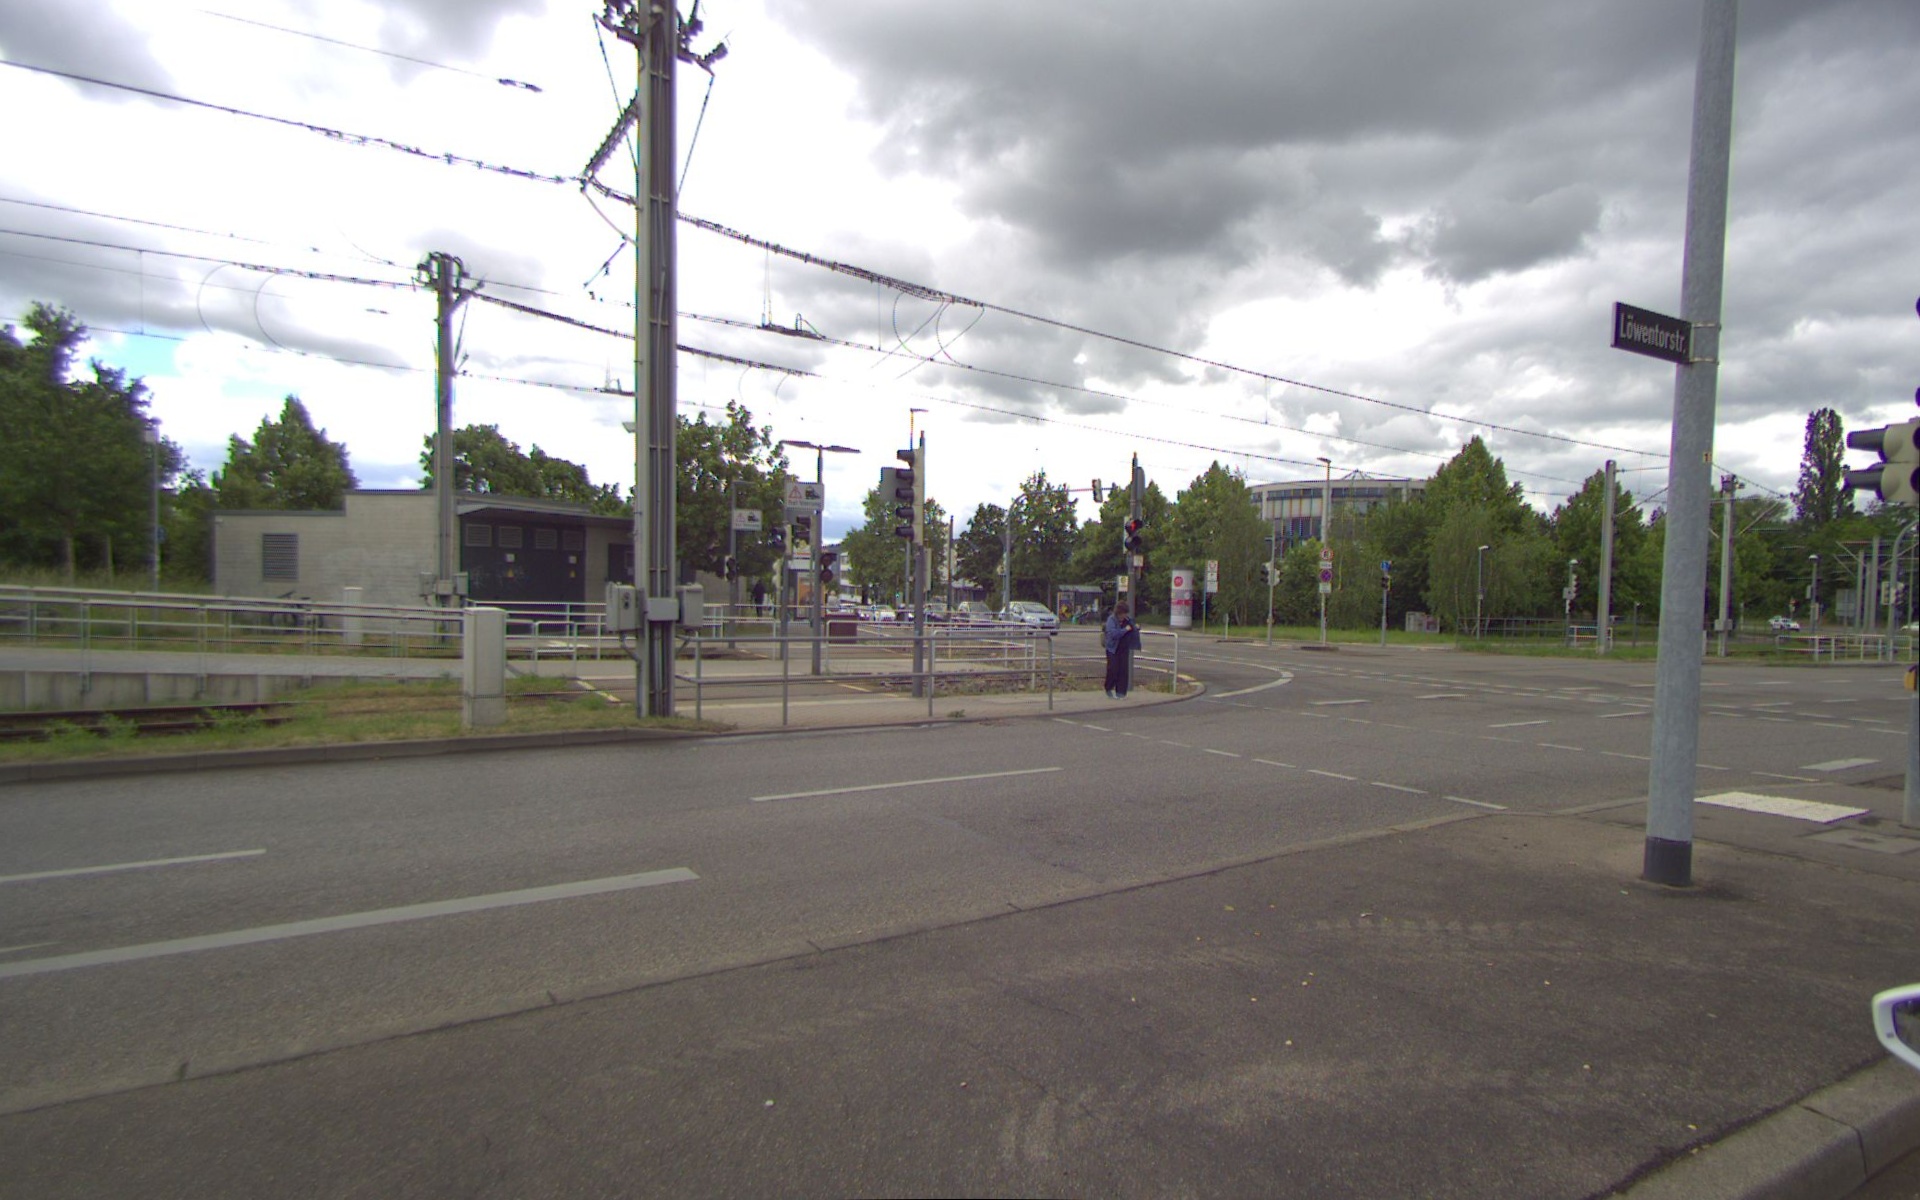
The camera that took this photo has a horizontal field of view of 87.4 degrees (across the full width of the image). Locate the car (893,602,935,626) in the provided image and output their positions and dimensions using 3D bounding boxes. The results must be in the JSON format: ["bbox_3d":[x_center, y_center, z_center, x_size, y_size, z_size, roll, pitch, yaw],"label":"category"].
[{"bbox_3d":[-3.005,0.891,64.938,1.706,1.456,3.731,1,0,-20],"label":"car"}]

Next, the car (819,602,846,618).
[{"bbox_3d":[-11.933,0.965,94.079,1.706,1.456,3.731,1,0,-20],"label":"car"}]

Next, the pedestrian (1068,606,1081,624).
[{"bbox_3d":[8.297,1.082,72.802,0.652,1.321,0.780,1,0,-16],"label":"pedestrian"}]

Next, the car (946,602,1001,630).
[{"bbox_3d":[0.688,0.846,53.676,1.706,1.456,3.731,1,0,-20],"label":"car"}]

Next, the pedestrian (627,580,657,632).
[{"bbox_3d":[-10.163,0.186,32.113,0.700,1.628,0.650,1,0,-39],"label":"pedestrian"}]

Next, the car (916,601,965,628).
[{"bbox_3d":[-1.152,0.819,58.172,1.706,1.456,3.731,1,0,-20],"label":"car"}]

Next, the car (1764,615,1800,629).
[{"bbox_3d":[103.068,2.777,126.017,1.798,1.650,4.428,1,-1,15],"label":"car"}]

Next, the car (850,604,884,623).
[{"bbox_3d":[-7.420,1.026,79.691,1.706,1.456,3.991,1,0,-20],"label":"car"}]

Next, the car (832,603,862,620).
[{"bbox_3d":[-9.770,0.989,86.723,1.706,1.456,3.731,1,0,-20],"label":"car"}]

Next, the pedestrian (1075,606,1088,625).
[{"bbox_3d":[8.683,1.129,71.582,0.652,1.322,0.780,1,0,-16],"label":"pedestrian"}]

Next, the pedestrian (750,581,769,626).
[{"bbox_3d":[-8.923,0.150,44.739,0.738,1.993,0.795,1,0,-9],"label":"pedestrian"}]

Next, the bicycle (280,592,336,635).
[{"bbox_3d":[-17.329,0.347,26.684,1.452,1.101,0.492,1,0,22],"label":"bicycle"}]

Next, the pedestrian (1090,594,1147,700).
[{"bbox_3d":[2.451,0.710,15.516,0.701,1.584,0.533,1,1,-44],"label":"pedestrian"}]

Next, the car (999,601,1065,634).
[{"bbox_3d":[3.300,0.802,46.816,1.706,1.456,3.731,1,0,-20],"label":"car"}]

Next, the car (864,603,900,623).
[{"bbox_3d":[-5.814,0.965,74.789,1.706,1.456,3.731,1,0,-20],"label":"car"}]

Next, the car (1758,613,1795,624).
[{"bbox_3d":[116.724,2.658,143.617,1.751,1.465,4.528,-1,0,1],"label":"car"}]
